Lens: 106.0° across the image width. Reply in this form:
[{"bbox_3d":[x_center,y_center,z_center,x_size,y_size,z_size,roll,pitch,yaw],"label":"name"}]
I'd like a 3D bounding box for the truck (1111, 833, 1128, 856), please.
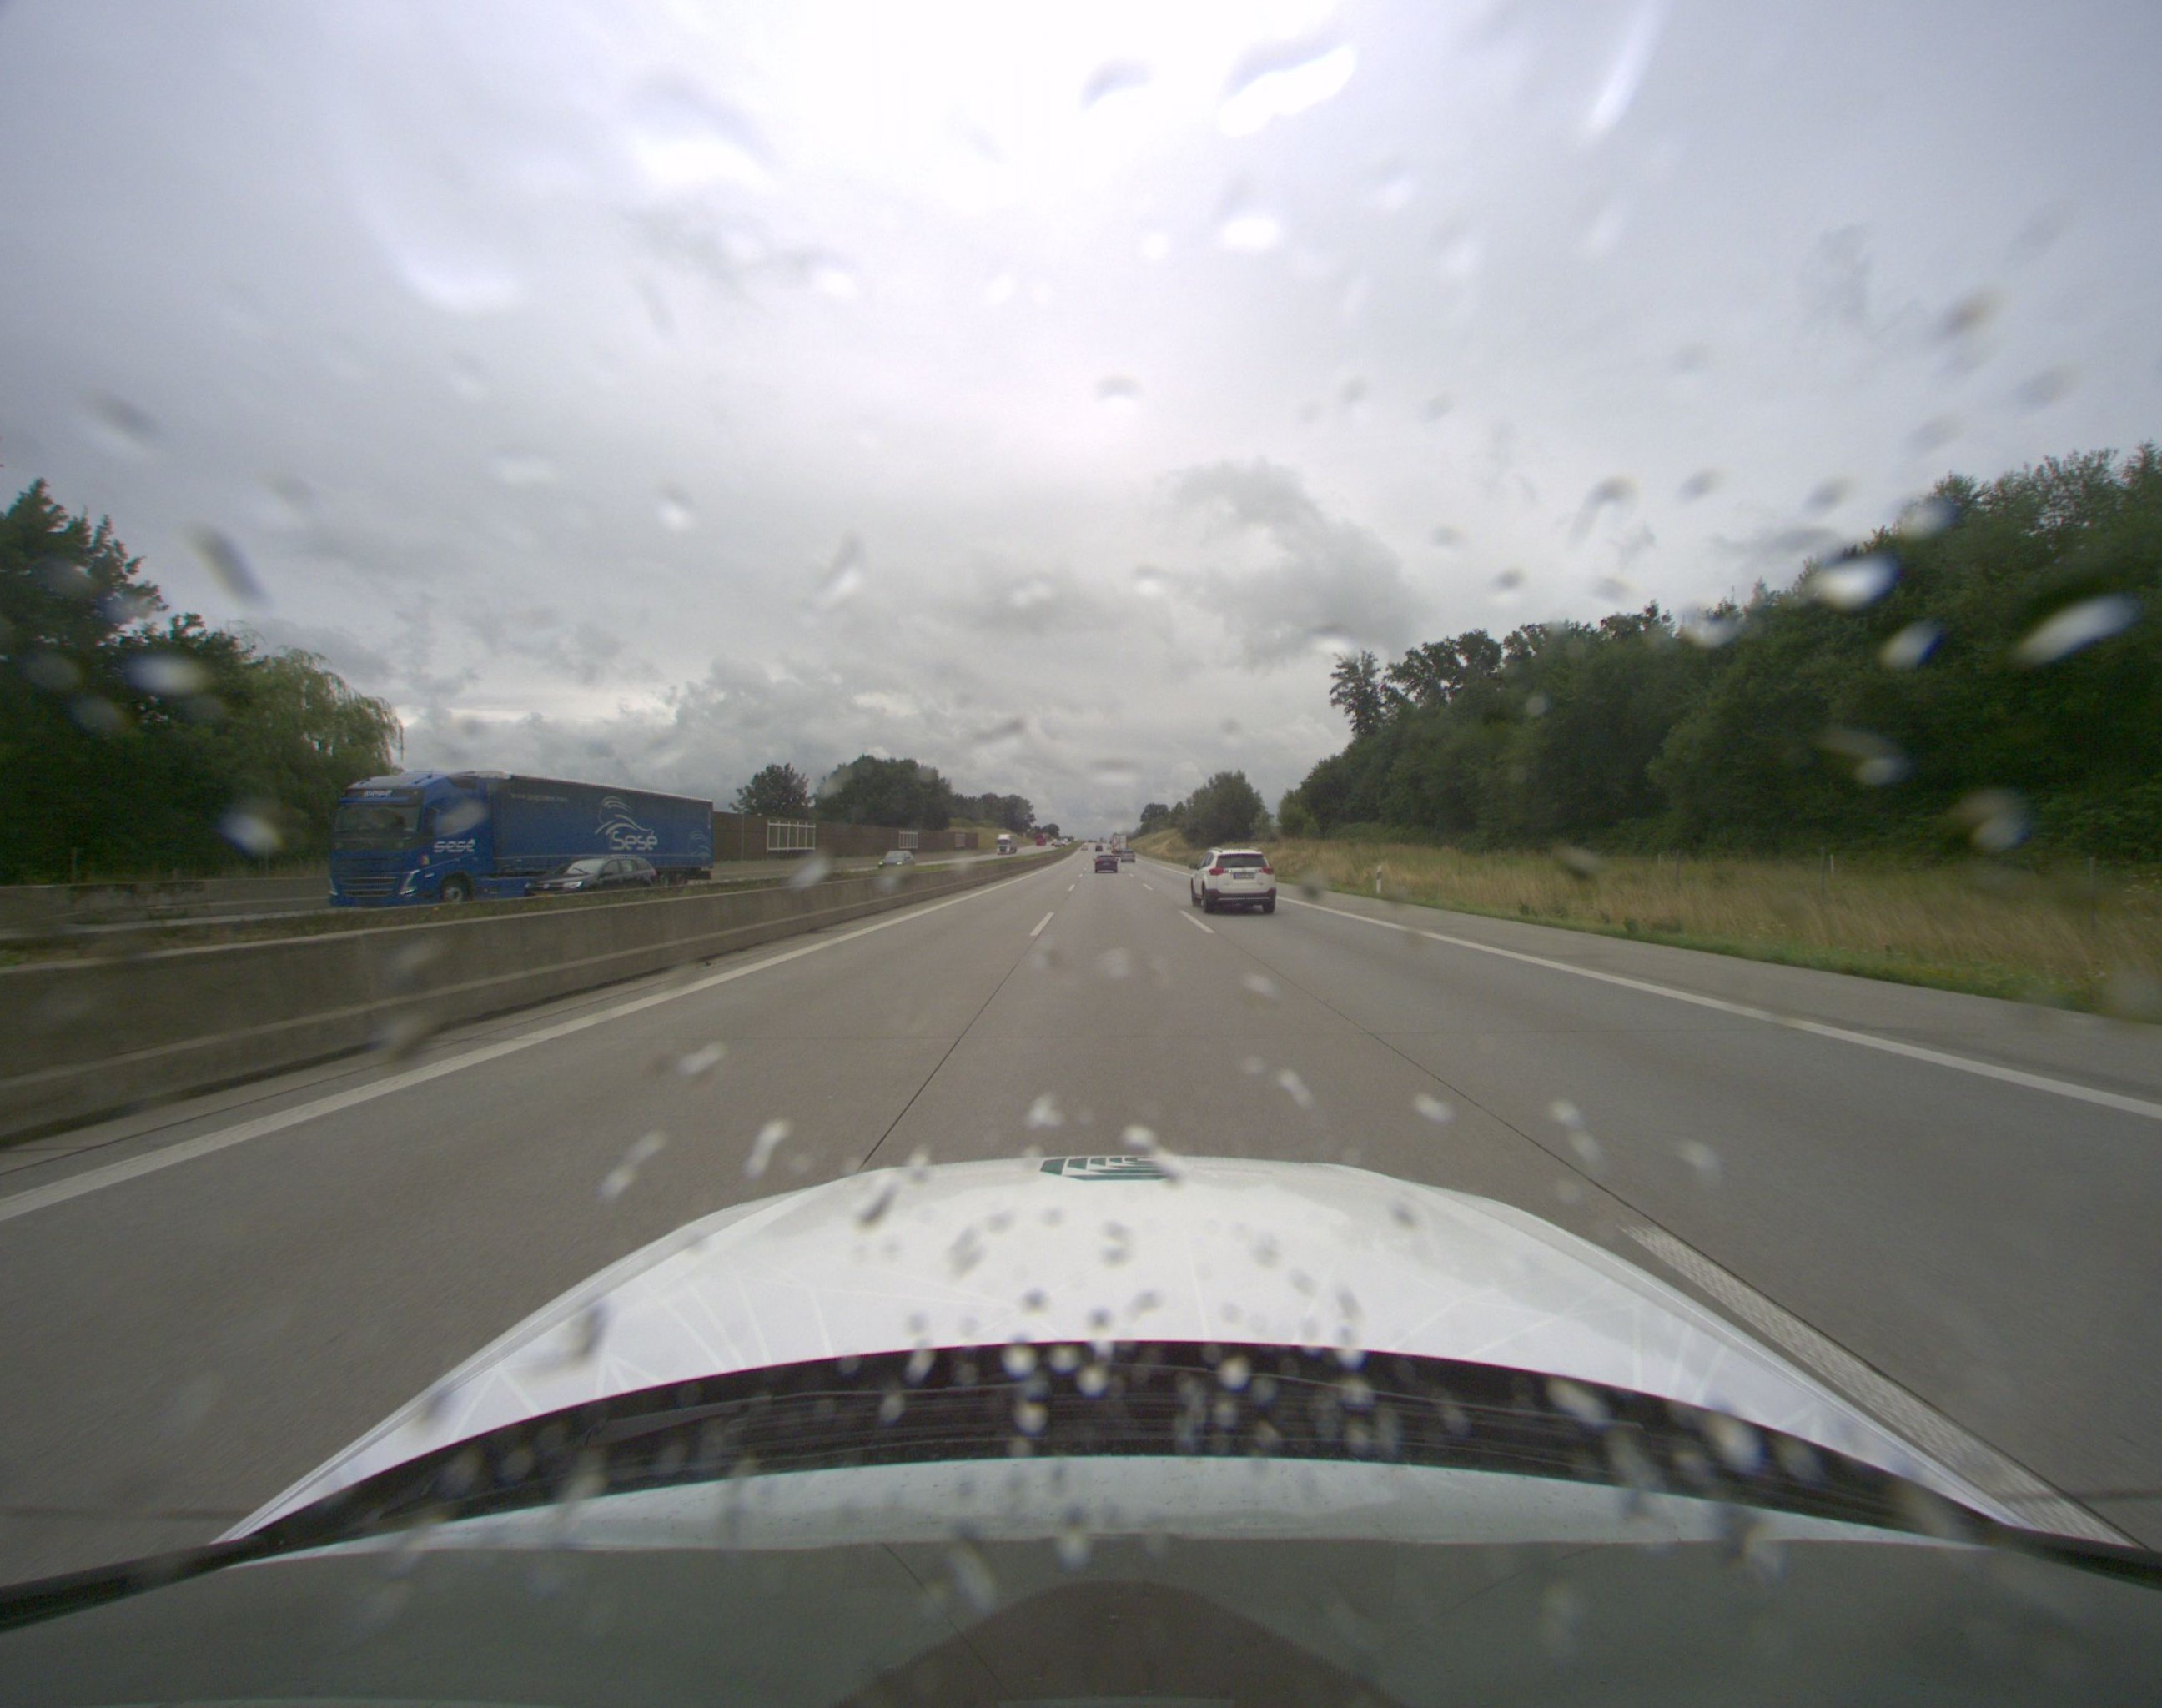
[{"bbox_3d":[7.149,-1.730,151.613,3.007,4.180,8.356,0,0,1],"label":"truck"}]

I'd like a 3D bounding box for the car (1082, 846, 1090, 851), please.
[{"bbox_3d":[1.414,-1.485,230.402,1.940,1.356,4.262,0,1,2],"label":"car"}]

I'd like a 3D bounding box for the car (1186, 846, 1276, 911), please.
[{"bbox_3d":[4.111,0.642,22.903,1.820,1.655,3.985,0,0,0],"label":"car"}]

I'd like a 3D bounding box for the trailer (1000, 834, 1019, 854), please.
[{"bbox_3d":[-15.291,-2.123,174.729,2.687,4.095,14.007,0,0,1],"label":"trailer"}]

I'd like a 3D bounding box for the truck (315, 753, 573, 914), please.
[{"bbox_3d":[-18.565,-0.538,24.369,2.681,4.188,6.213,0,0,2],"label":"truck"}]

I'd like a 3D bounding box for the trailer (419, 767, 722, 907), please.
[{"bbox_3d":[-18.394,-0.595,31.371,2.700,4.208,13.798,0,1,1],"label":"trailer"}]

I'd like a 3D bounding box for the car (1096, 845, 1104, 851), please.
[{"bbox_3d":[4.973,-1.484,209.403,1.927,1.375,4.597,0,-1,2],"label":"car"}]

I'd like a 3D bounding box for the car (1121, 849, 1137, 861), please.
[{"bbox_3d":[6.145,0.138,105.161,1.986,1.530,4.002,0,0,2],"label":"car"}]

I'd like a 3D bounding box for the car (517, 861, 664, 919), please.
[{"bbox_3d":[-14.373,0.990,24.213,1.631,1.500,4.518,0,0,0],"label":"car"}]

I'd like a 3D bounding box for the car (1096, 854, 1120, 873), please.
[{"bbox_3d":[2.028,0.678,62.793,1.747,1.398,4.483,0,0,0],"label":"car"}]

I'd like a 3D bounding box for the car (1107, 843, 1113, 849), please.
[{"bbox_3d":[8.768,-2.446,246.097,1.985,1.640,4.004,0,0,3],"label":"car"}]

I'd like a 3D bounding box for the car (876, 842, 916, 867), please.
[{"bbox_3d":[-13.539,0.045,59.830,1.810,1.767,4.732,0,0,0],"label":"car"}]

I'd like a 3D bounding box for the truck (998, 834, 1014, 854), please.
[{"bbox_3d":[-15.400,-2.029,167.849,2.673,4.083,6.218,0,0,1],"label":"truck"}]
